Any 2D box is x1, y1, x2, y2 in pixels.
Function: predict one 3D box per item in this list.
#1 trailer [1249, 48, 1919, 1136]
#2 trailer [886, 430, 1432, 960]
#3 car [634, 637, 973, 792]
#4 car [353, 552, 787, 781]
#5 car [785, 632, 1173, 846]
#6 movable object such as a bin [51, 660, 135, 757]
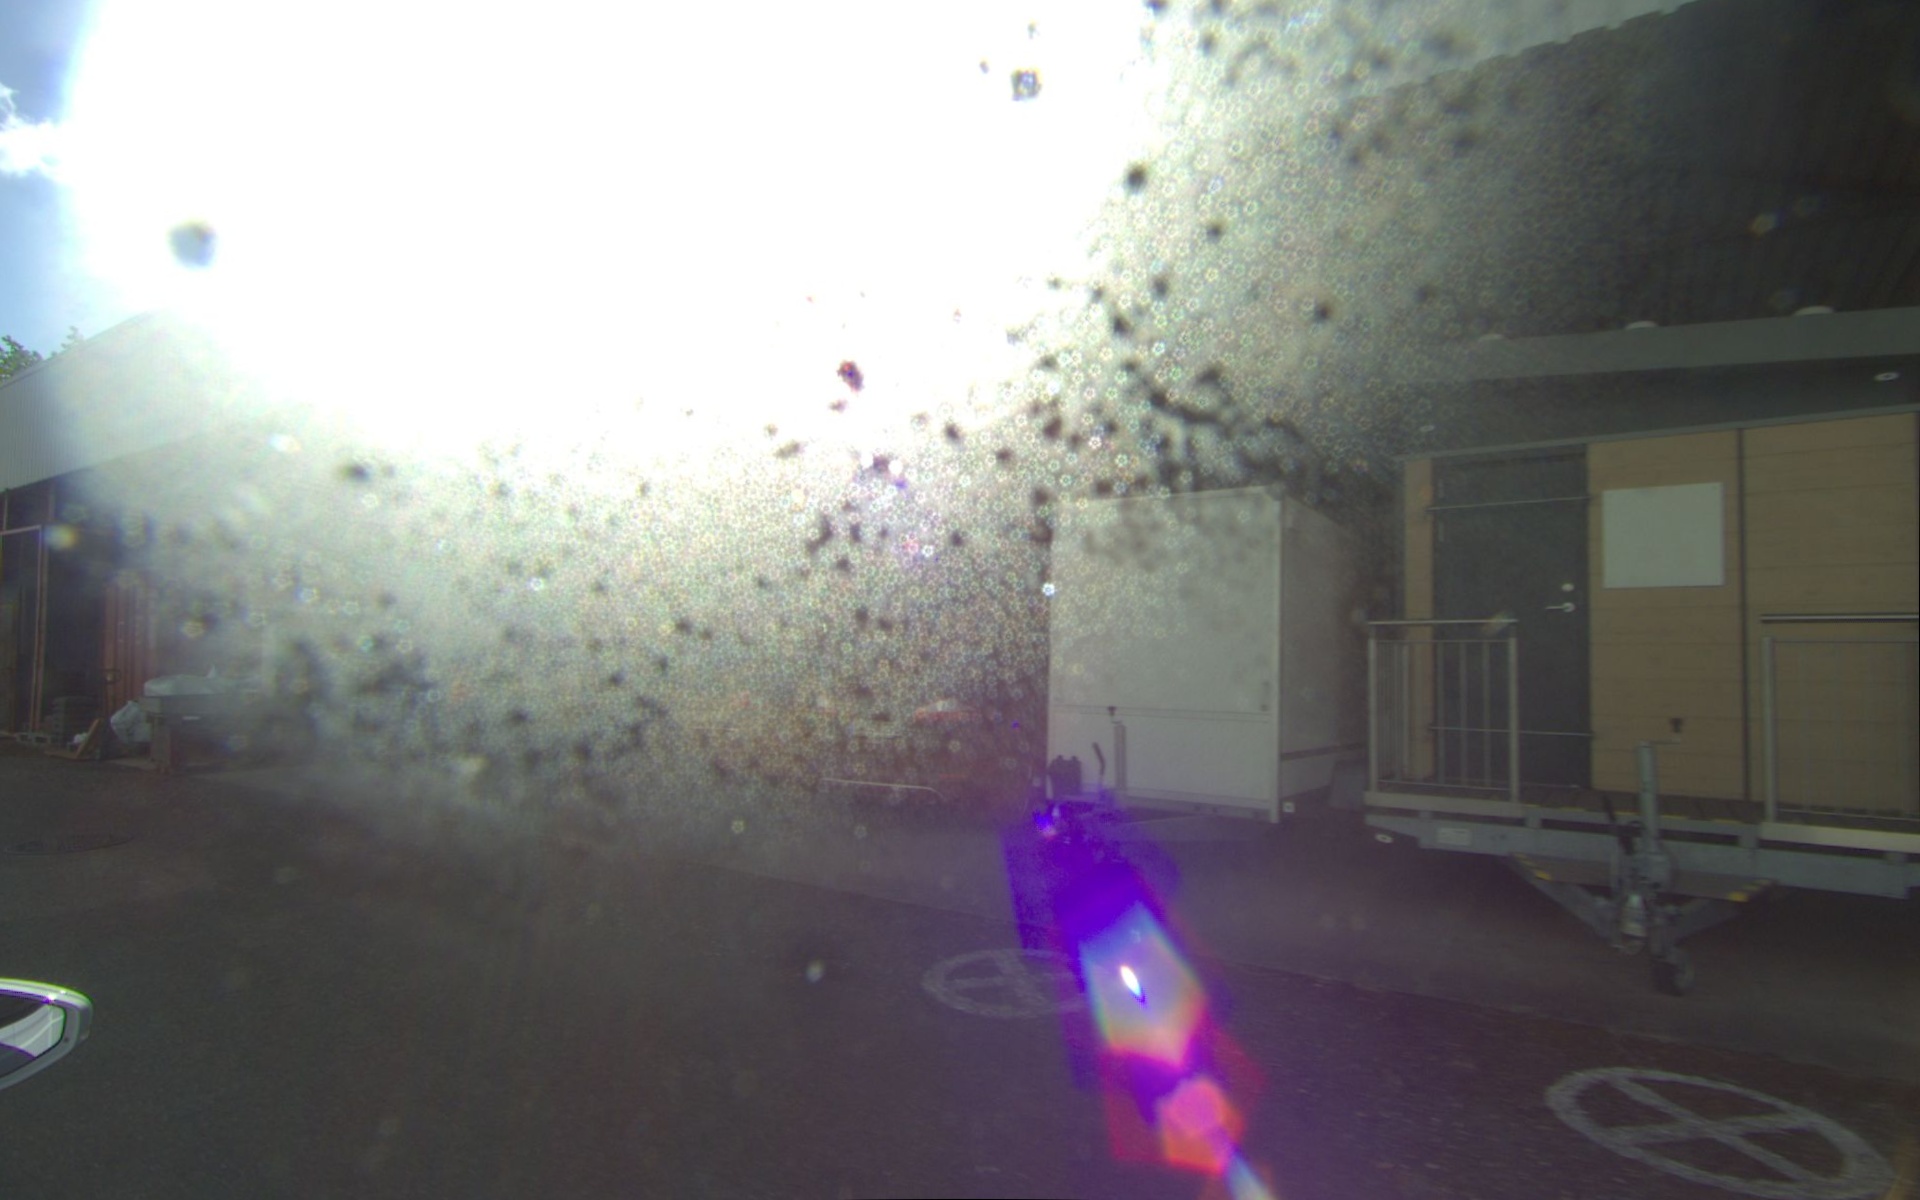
[{"bbox_3d":[5.076,0.206,7.540,2.814,3.256,10.021,-1,-3,33],"label":"trailer"},{"bbox_3d":[1.764,0.559,7.039,1.804,2.421,4.797,-1,-3,38],"label":"trailer"},{"bbox_3d":[-1.642,1.221,11.826,1.763,1.491,3.981,-1,-3,33],"label":"car"},{"bbox_3d":[-4.688,0.834,12.917,1.972,2.354,4.970,-1,-3,33],"label":"car"},{"bbox_3d":[0.454,1.111,9.452,1.751,1.514,4.325,-1,-3,31],"label":"car"},{"bbox_3d":[-11.286,1.383,13.032,1.222,1.179,0.580,-1,-3,38],"label":"movable object such as a bin"}]
